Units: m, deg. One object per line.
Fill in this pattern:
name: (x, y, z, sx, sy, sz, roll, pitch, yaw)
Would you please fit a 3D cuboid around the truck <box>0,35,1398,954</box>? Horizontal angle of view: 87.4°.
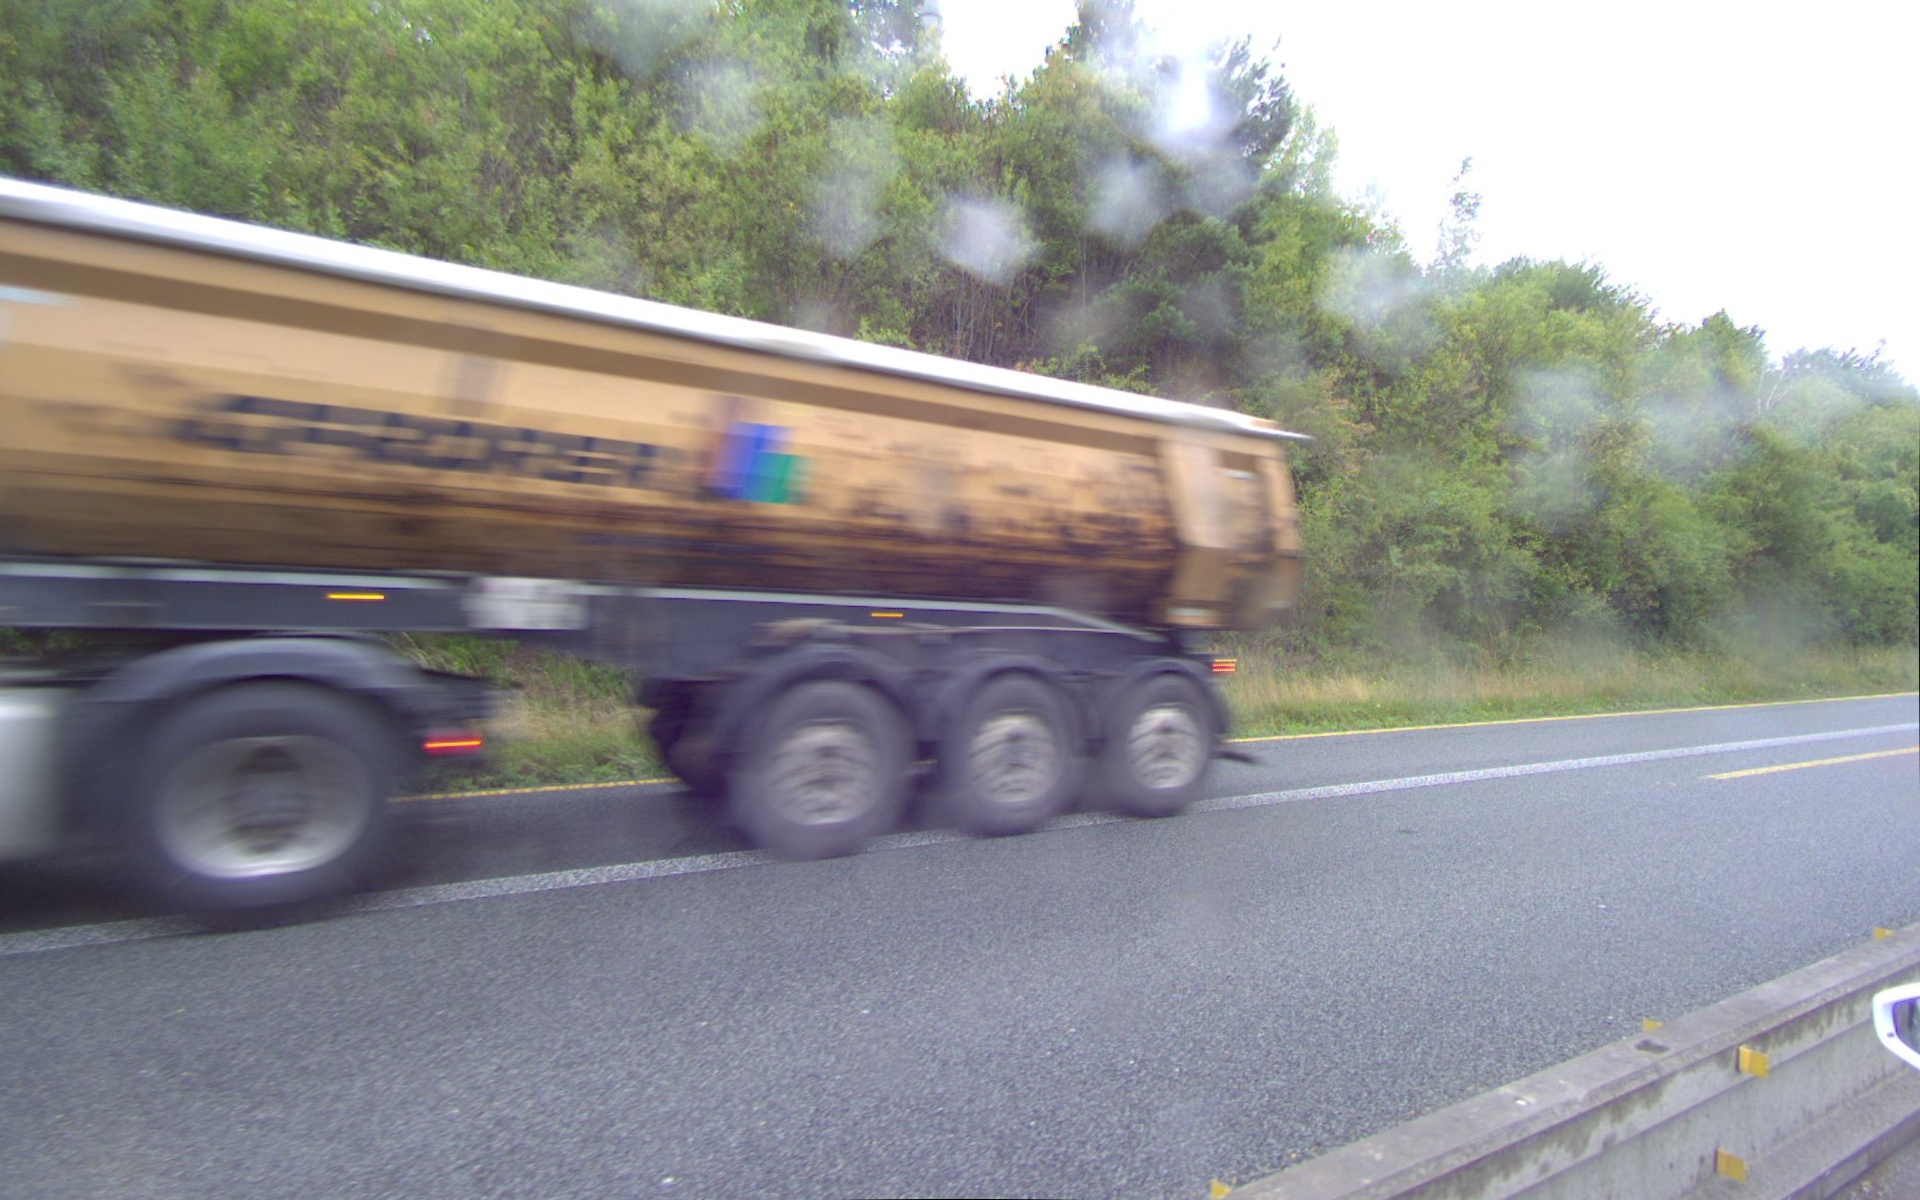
truck: (-2.285, -0.330, 5.963, 11.913, 3.397, 2.522, 2, 0, -31)
